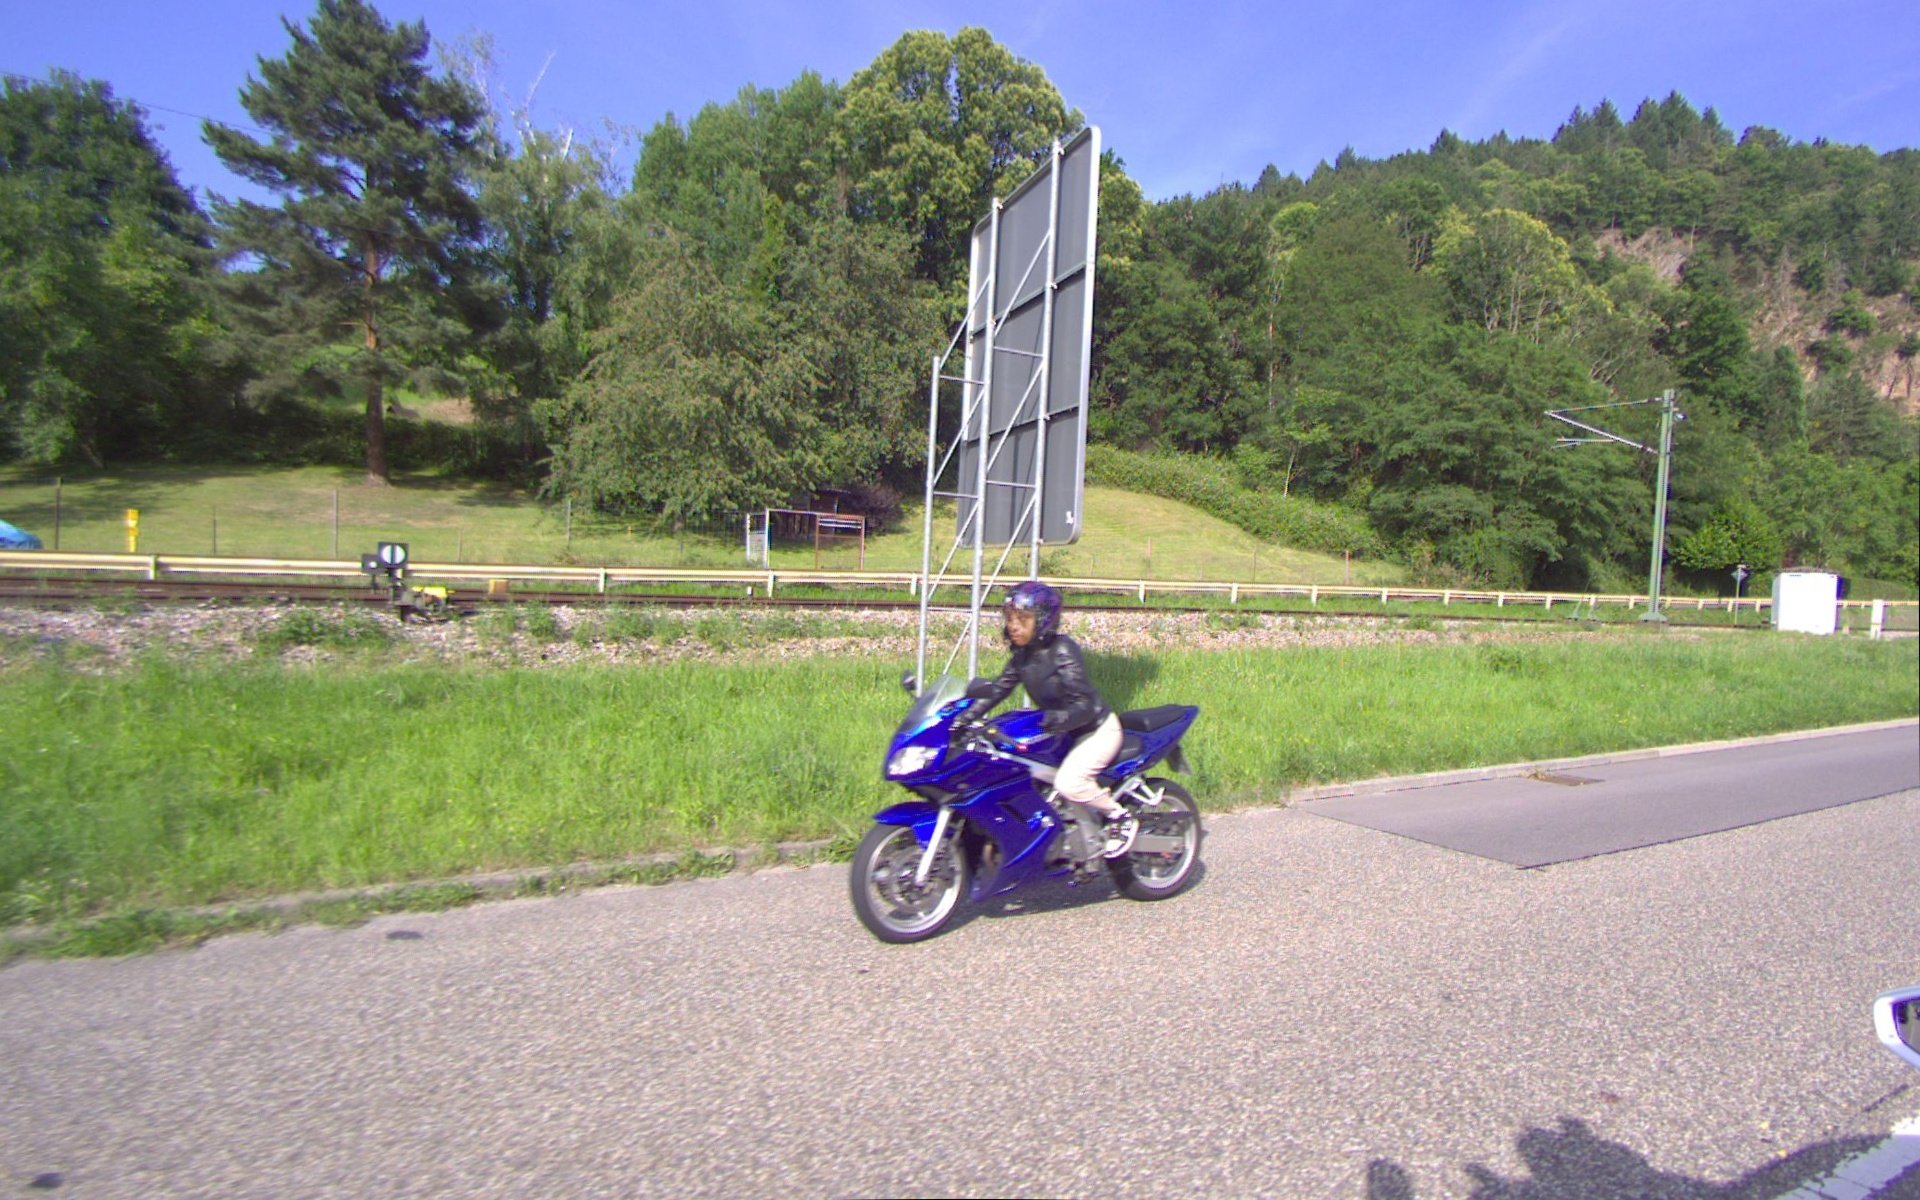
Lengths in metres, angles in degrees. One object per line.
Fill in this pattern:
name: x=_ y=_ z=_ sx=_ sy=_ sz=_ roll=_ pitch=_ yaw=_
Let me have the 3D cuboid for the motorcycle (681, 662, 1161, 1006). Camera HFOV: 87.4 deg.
motorcycle: x=-0.157 y=0.895 z=4.447 sx=1.943 sy=1.145 sz=0.858 roll=1 pitch=0 yaw=-28

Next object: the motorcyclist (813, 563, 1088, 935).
motorcyclist: x=-0.067 y=0.575 z=4.488 sx=0.951 sy=1.442 sz=0.840 roll=0 pitch=1 yaw=-27
